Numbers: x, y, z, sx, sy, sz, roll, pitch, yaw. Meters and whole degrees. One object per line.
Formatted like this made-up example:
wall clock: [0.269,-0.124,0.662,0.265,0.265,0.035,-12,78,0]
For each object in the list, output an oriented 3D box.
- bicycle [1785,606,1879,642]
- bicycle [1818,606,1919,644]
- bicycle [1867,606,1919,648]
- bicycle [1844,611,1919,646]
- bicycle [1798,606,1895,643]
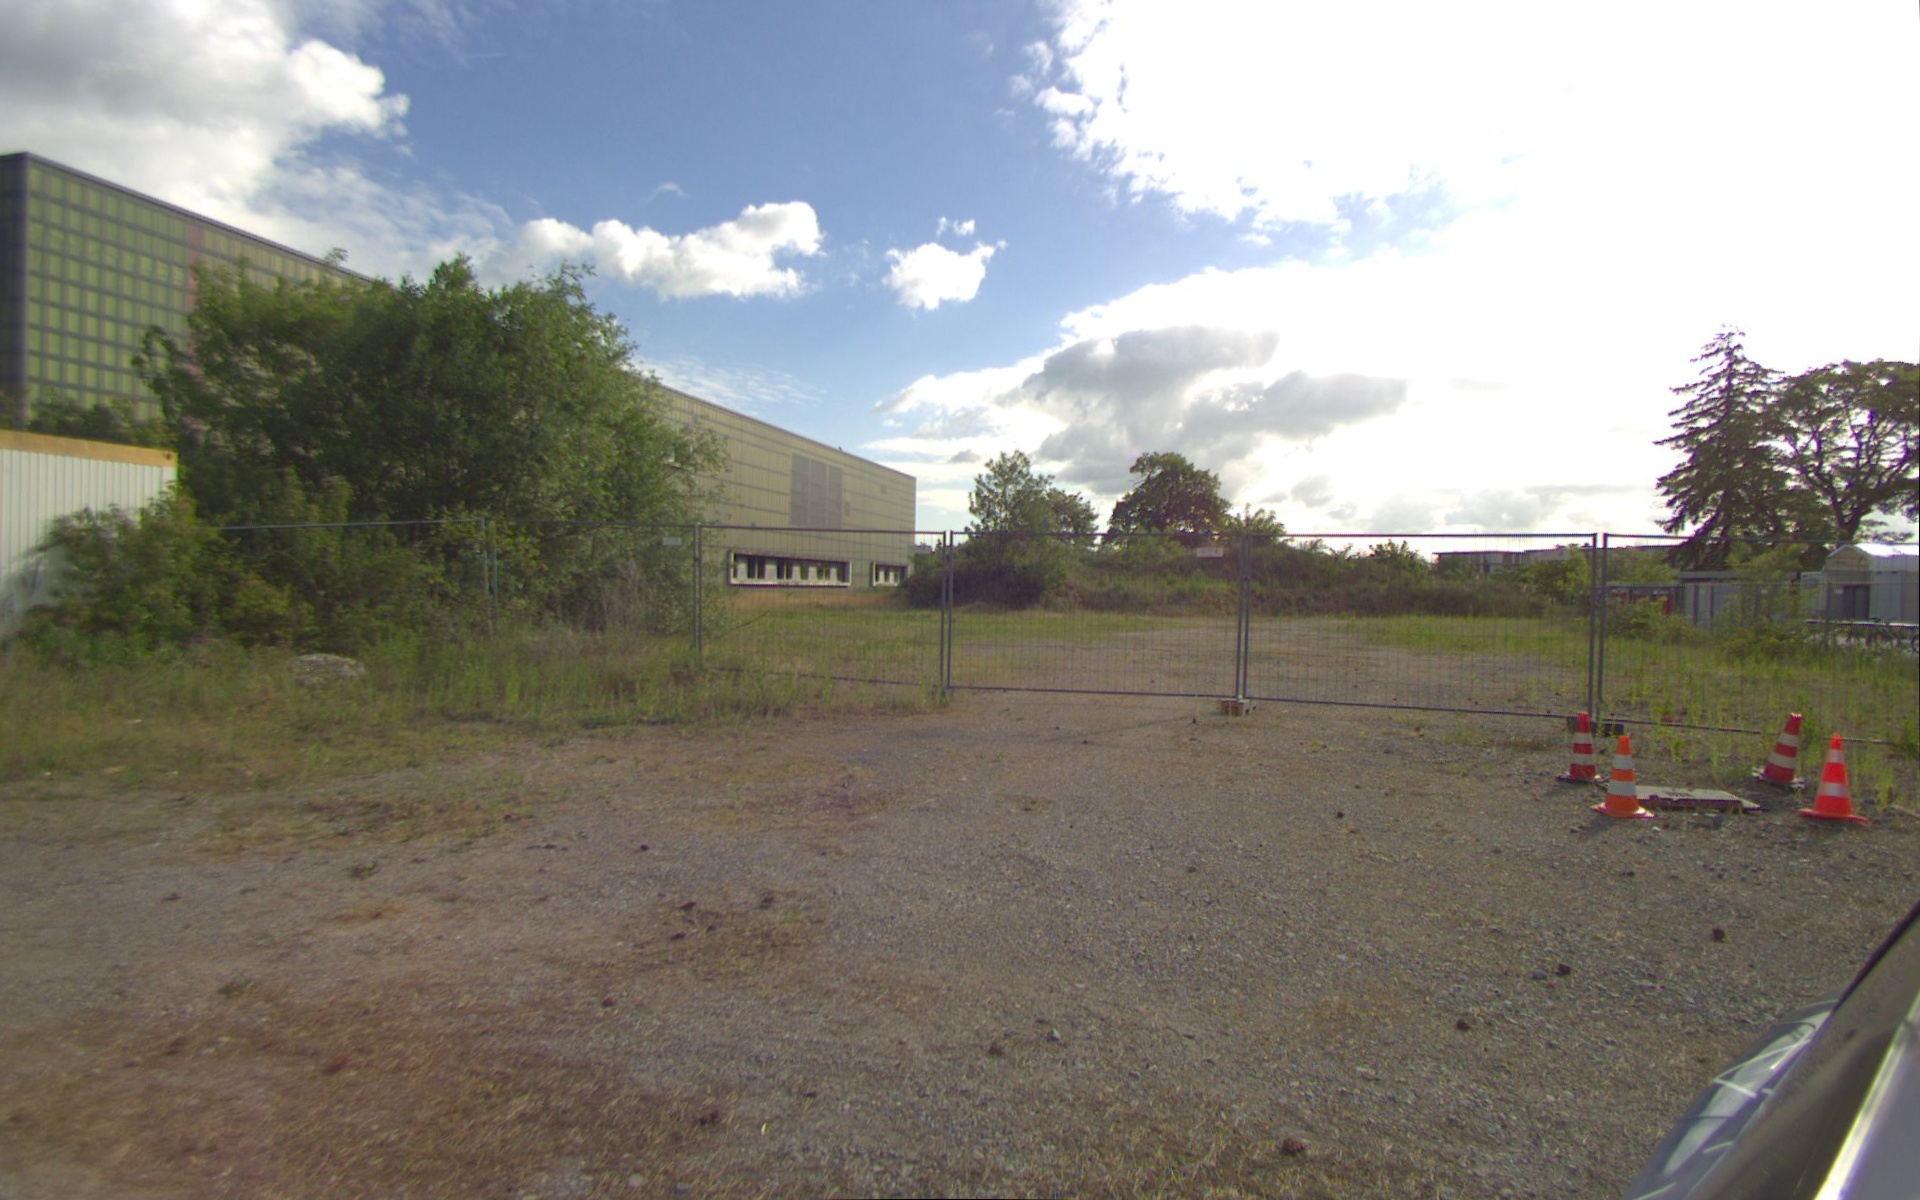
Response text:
bicycle: [27.887,0.754,32.395,2.039,1.057,0.942,1,1,14]
bicycle: [27.249,0.741,30.367,2.039,1.057,0.942,1,1,14]
bicycle: [26.779,0.758,28.163,2.039,1.100,0.942,1,1,14]
bicycle: [27.146,0.824,29.355,2.039,0.933,0.942,1,1,14]
bicycle: [27.514,0.747,31.451,2.039,1.057,0.942,1,1,14]
